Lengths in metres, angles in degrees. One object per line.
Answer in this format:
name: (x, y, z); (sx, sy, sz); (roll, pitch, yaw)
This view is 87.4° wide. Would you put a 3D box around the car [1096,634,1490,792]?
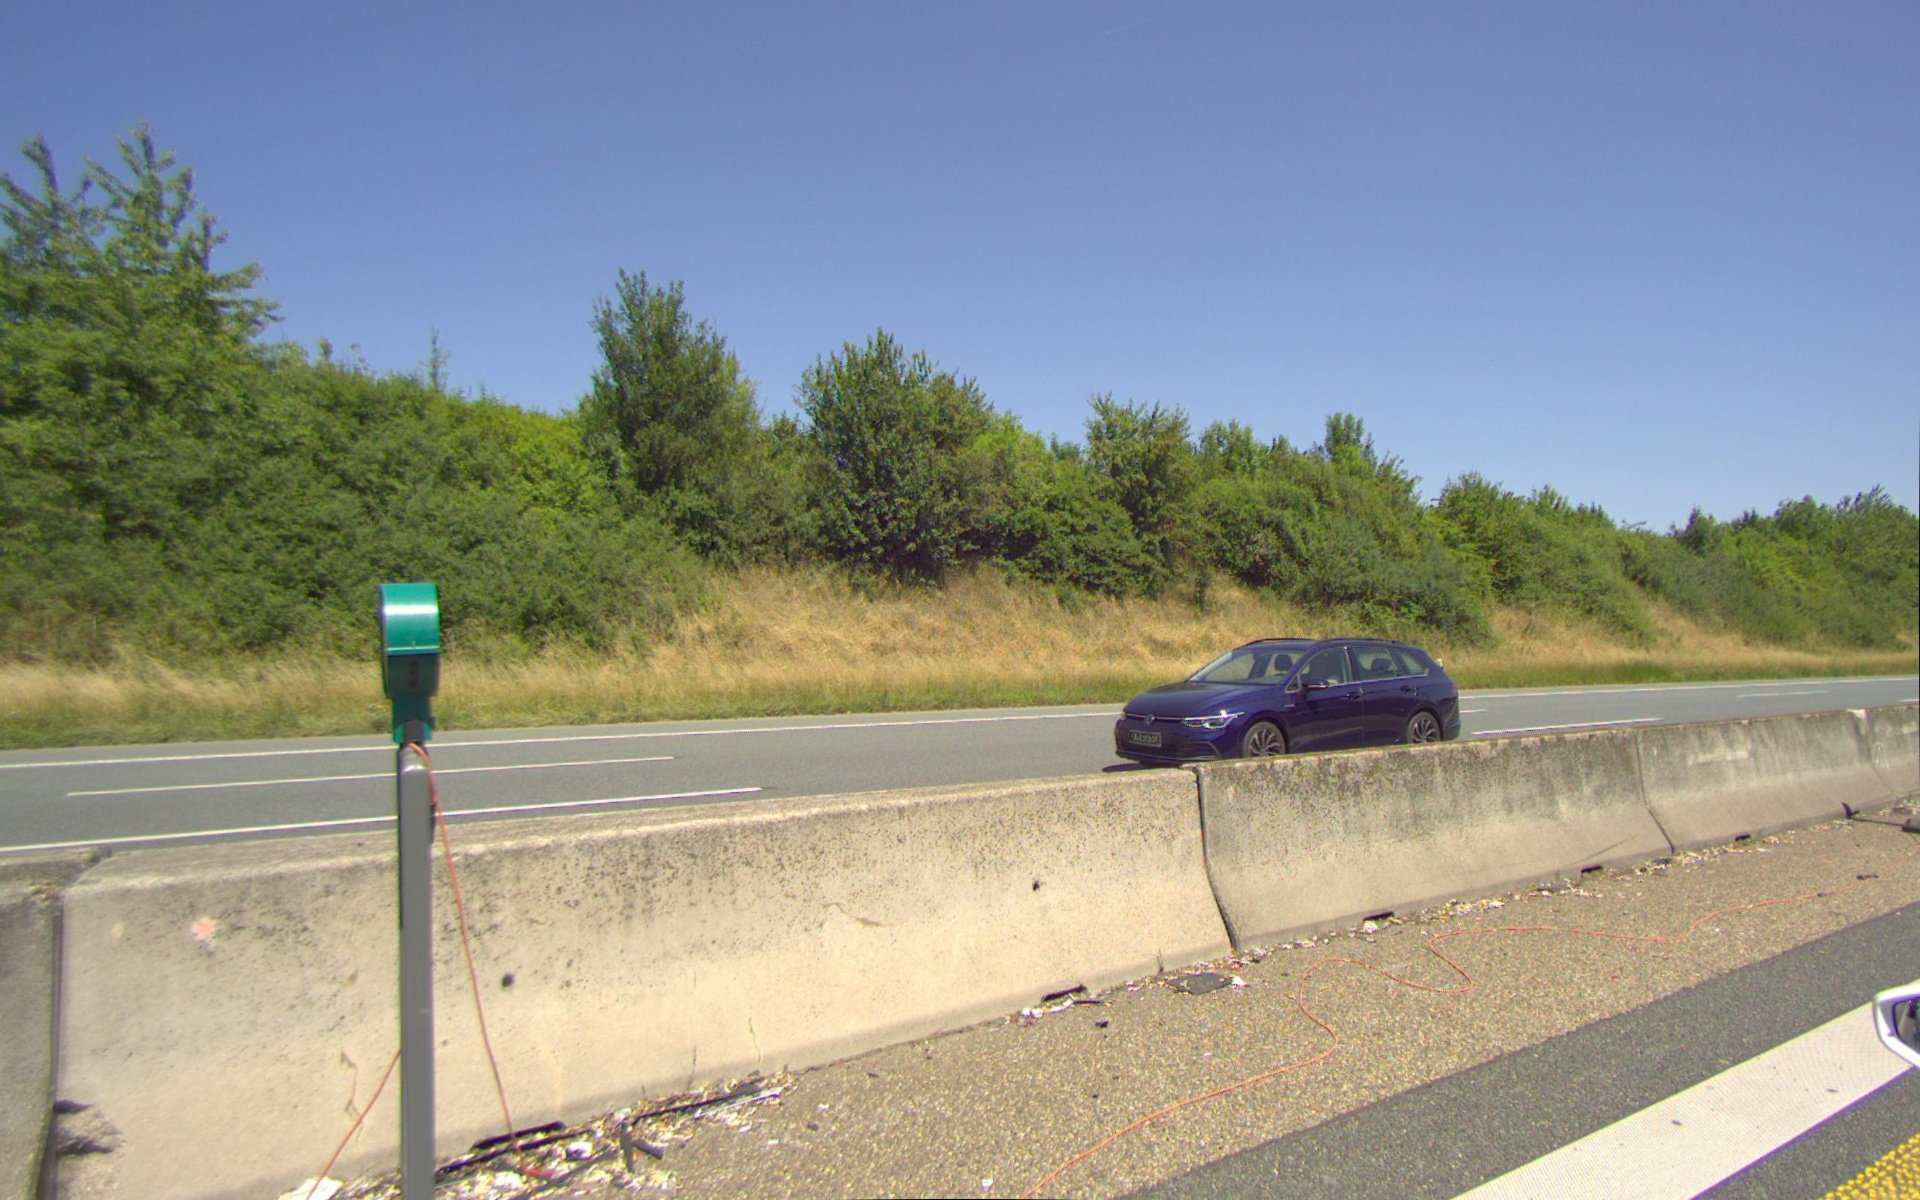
car: (3.892, 1.154, 11.549); (4.440, 1.510, 1.854); (1, -2, -30)
